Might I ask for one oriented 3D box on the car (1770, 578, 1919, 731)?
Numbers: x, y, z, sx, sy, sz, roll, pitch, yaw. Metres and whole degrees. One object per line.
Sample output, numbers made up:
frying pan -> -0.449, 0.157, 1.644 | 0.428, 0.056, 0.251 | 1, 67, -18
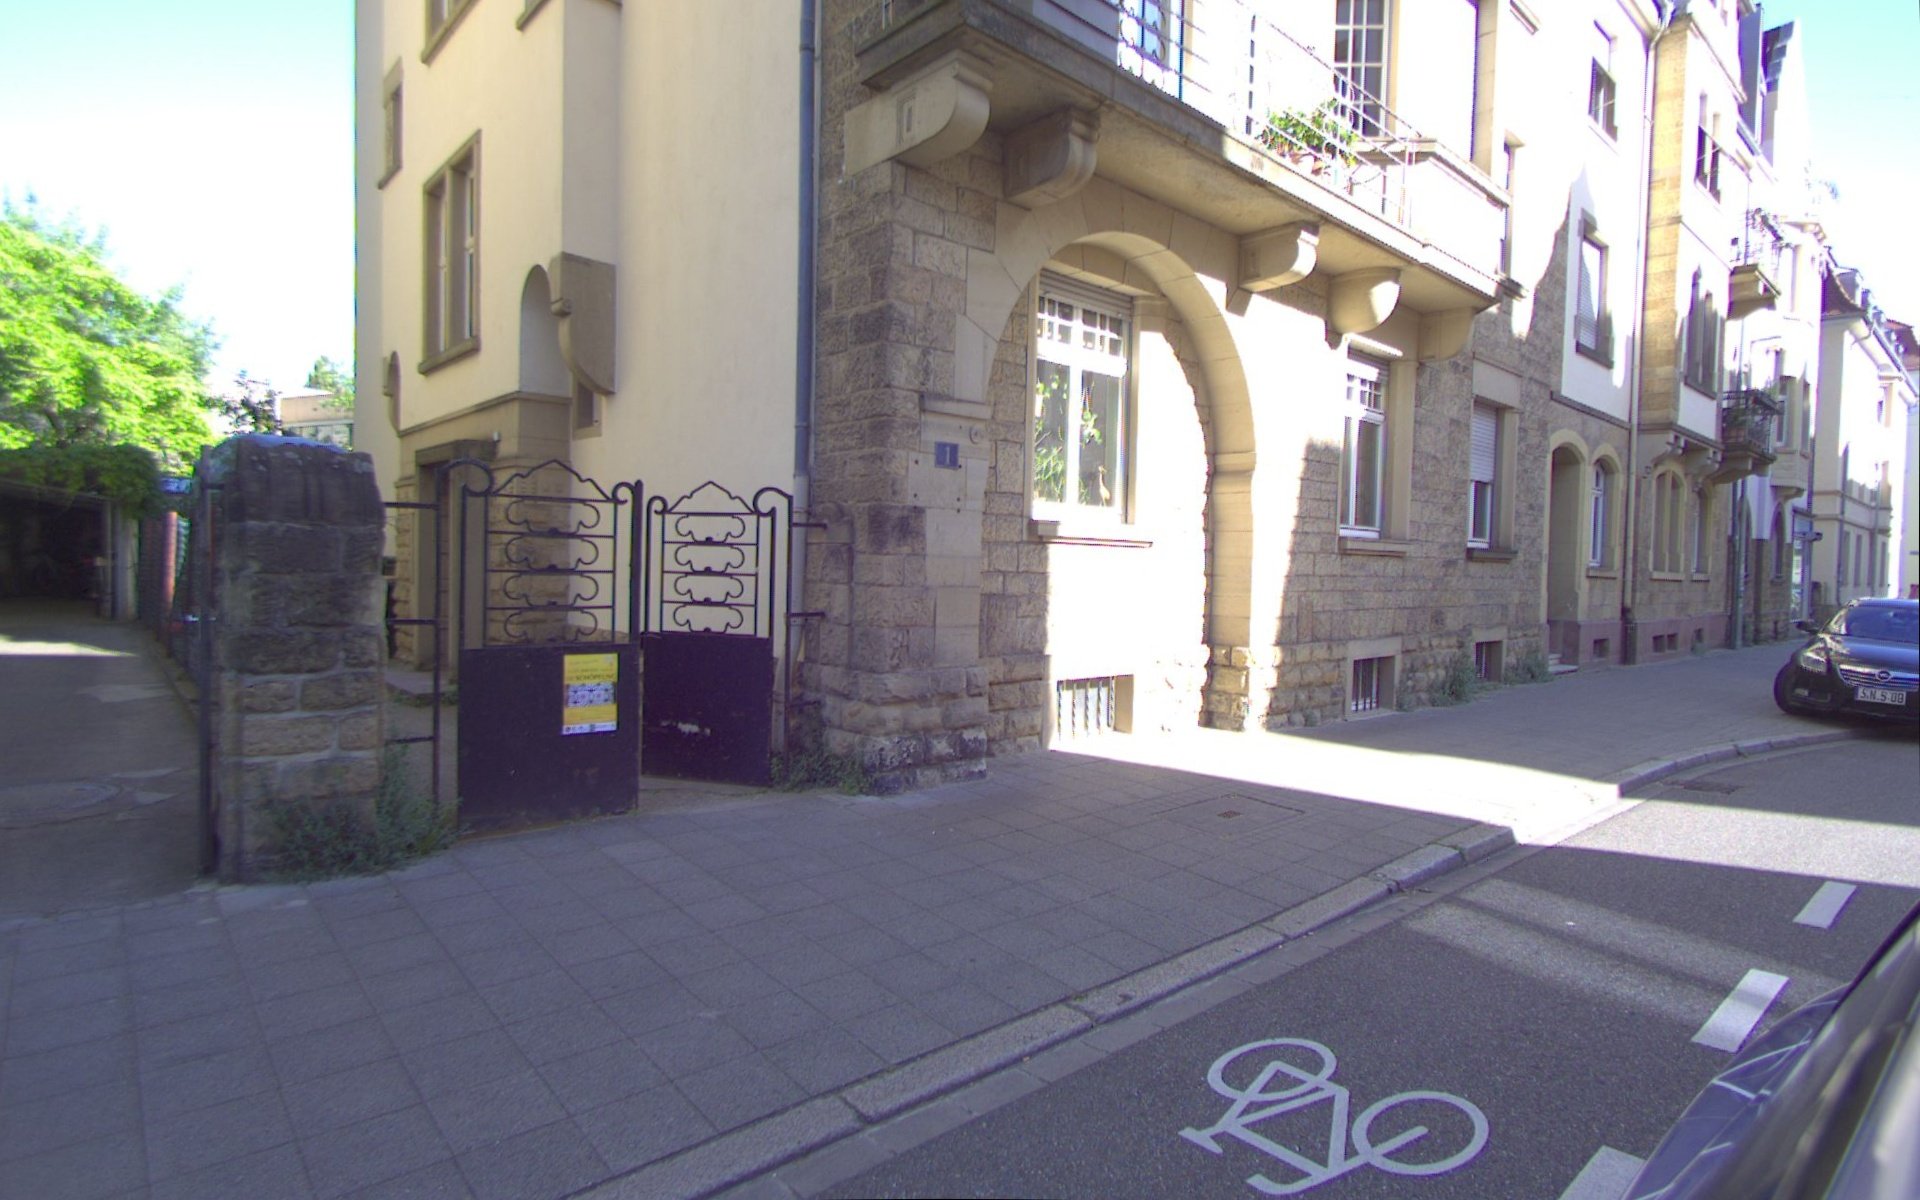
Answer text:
car -> 11.477, 0.575, 12.161 | 4.043, 1.526, 2.023 | -1, 5, -42

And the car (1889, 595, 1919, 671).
car -> 18.794, 0.625, 18.971 | 3.667, 1.295, 1.659 | -1, 4, -42

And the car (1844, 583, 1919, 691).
car -> 15.531, 0.571, 15.867 | 4.247, 1.527, 2.004 | 0, 3, -42

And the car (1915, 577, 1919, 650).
car -> 26.234, 0.343, 26.049 | 4.247, 1.860, 2.004 | -1, 4, -42

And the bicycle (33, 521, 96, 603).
bicycle -> -18.302, -0.810, 20.726 | 0.903, 1.530, 2.672 | 0, 4, -41

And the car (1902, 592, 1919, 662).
car -> 22.171, 0.588, 22.192 | 4.247, 1.440, 1.823 | -1, 4, -42
